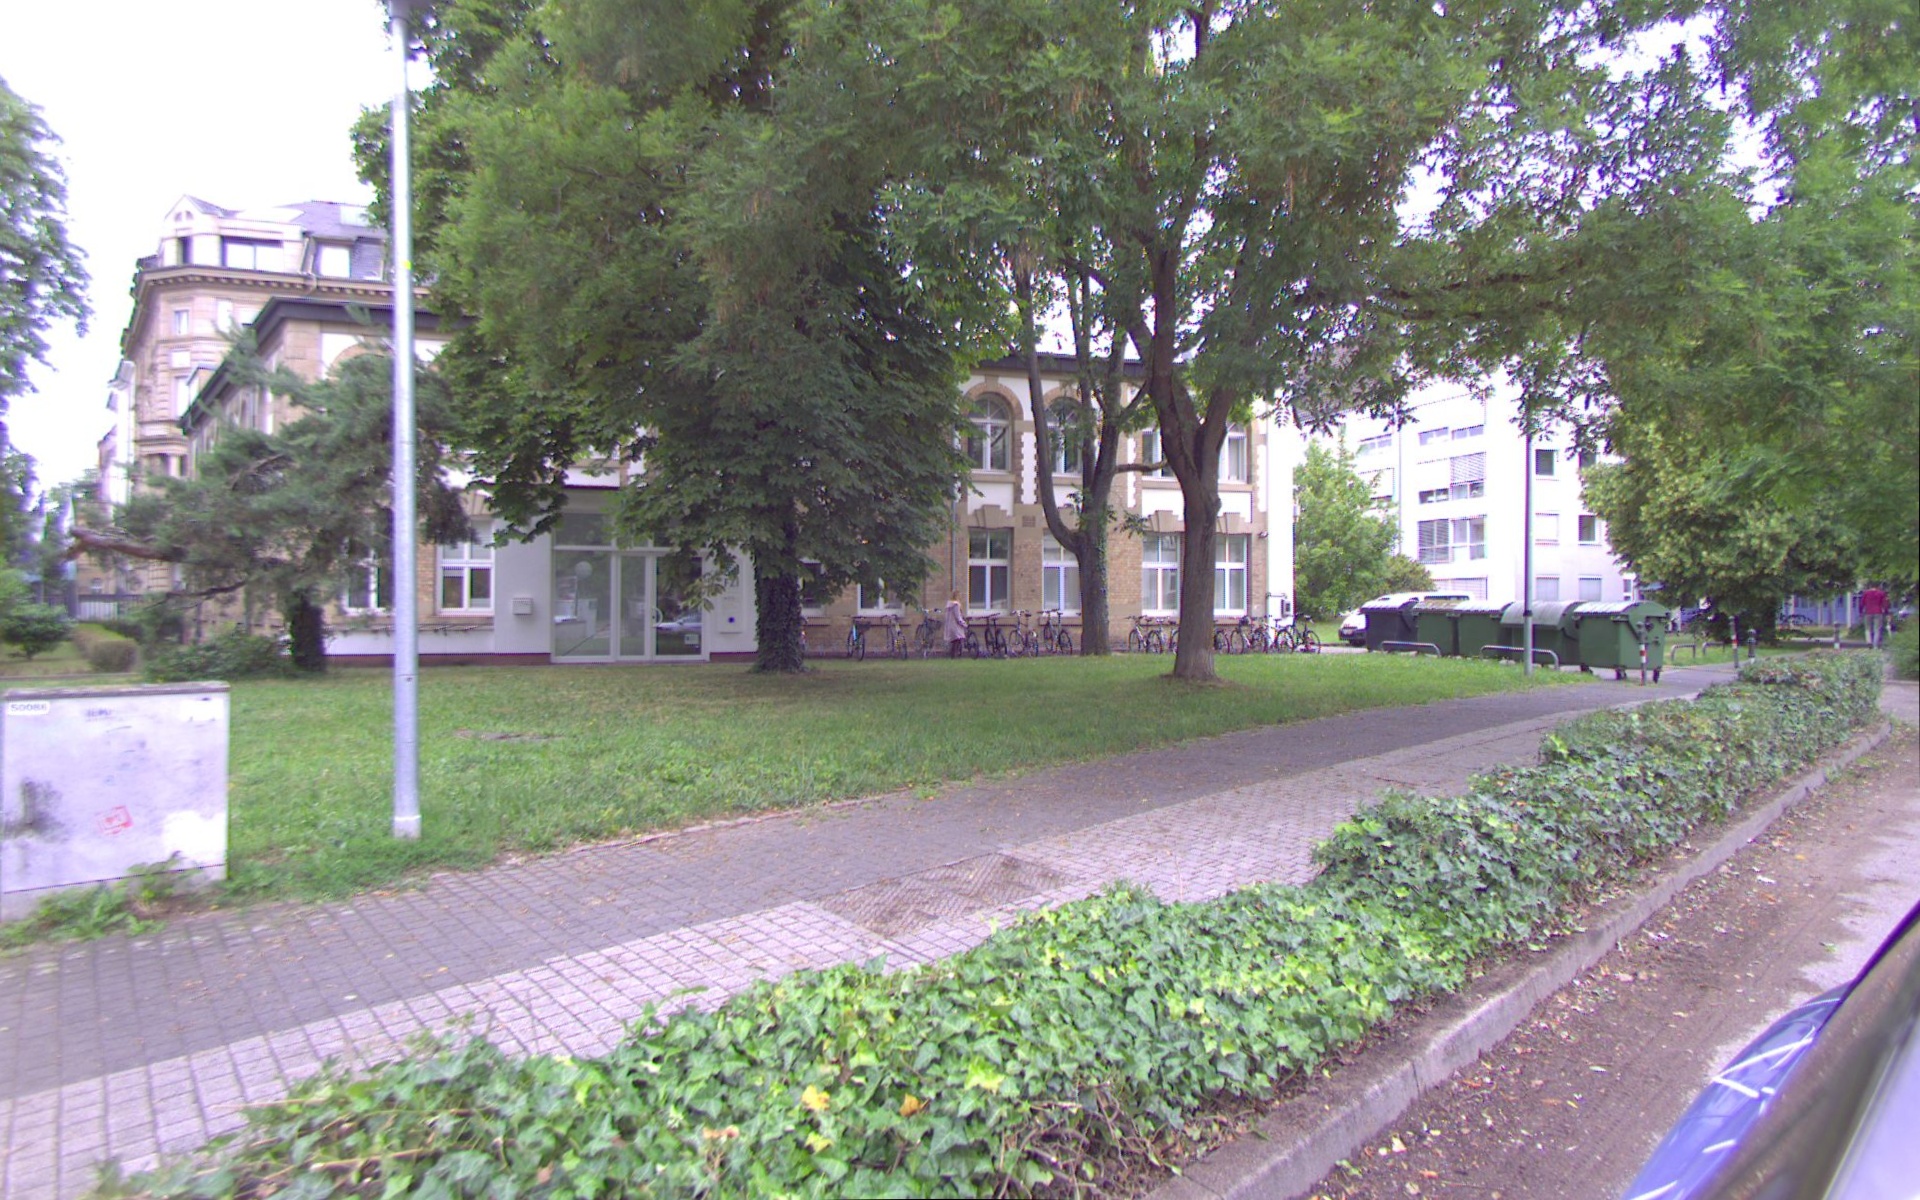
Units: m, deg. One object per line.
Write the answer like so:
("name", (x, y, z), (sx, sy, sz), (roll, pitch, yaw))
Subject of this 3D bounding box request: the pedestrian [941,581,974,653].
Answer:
("pedestrian", (-0.065, 0.377, 22.878), (0.614, 1.607, 0.605), (0, -1, -14))

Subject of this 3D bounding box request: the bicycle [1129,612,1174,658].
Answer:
("bicycle", (4.837, 0.868, 25.695), (0.451, 1.129, 1.748), (0, 0, -13))

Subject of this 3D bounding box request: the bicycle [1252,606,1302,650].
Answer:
("bicycle", (8.397, 0.718, 26.847), (0.451, 1.129, 1.748), (0, 0, -13))

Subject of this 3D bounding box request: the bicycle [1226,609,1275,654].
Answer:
("bicycle", (7.621, 0.810, 26.593), (0.451, 1.129, 1.748), (0, 0, -13))

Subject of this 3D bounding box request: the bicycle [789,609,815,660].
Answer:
("bicycle", (-3.686, 0.769, 23.533), (0.451, 1.129, 1.748), (0, 0, -13))

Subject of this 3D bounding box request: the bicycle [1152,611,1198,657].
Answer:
("bicycle", (5.473, 0.850, 25.879), (0.451, 1.129, 1.748), (0, 0, -13))

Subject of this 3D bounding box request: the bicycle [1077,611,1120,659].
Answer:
("bicycle", (3.428, 0.845, 25.155), (0.451, 1.129, 1.748), (0, 0, -13))

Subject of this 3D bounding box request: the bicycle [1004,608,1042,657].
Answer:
("bicycle", (1.545, 0.780, 24.922), (0.451, 1.129, 1.748), (0, 0, -13))

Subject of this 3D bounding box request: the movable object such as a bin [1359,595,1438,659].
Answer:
("movable object such as a bin", (10.488, 0.631, 24.265), (1.085, 1.469, 1.365), (0, -1, -20))

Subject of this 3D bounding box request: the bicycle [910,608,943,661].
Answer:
("bicycle", (-0.815, 0.795, 24.051), (0.451, 1.128, 1.749), (0, 3, -13))

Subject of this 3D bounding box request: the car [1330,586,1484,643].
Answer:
("car", (15.579, 0.511, 35.340), (4.673, 1.898, 1.904), (0, -3, -13))

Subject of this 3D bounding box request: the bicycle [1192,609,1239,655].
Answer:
("bicycle", (6.576, 0.798, 26.111), (0.451, 1.129, 1.747), (0, 0, -11))

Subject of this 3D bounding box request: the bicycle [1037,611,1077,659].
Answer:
("bicycle", (2.396, 0.858, 25.167), (0.451, 1.129, 1.748), (0, 0, -13))

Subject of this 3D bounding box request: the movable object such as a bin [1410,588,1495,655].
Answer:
("movable object such as a bin", (11.064, 0.467, 22.765), (1.085, 1.469, 1.329), (0, -1, -20))

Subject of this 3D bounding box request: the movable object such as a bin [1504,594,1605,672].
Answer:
("movable object such as a bin", (11.673, 0.627, 19.911), (1.085, 1.469, 1.289), (0, -1, -17))

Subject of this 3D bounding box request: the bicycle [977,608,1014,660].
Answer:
("bicycle", (0.859, 0.815, 24.640), (0.451, 1.128, 1.749), (0, 2, -13))

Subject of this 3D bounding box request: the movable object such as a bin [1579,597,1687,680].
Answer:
("movable object such as a bin", (12.250, 0.672, 18.470), (1.050, 1.452, 1.277), (0, 0, -6))

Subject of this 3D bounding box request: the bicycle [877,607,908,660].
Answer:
("bicycle", (-1.600, 0.772, 23.917), (0.451, 1.128, 1.748), (0, 2, -13))

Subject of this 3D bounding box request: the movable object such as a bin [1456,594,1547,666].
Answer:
("movable object such as a bin", (11.440, 0.612, 21.408), (1.085, 1.469, 1.297), (0, -1, -20))

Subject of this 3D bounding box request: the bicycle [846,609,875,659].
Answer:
("bicycle", (-2.342, 0.776, 23.740), (0.451, 1.129, 1.748), (0, 0, -13))

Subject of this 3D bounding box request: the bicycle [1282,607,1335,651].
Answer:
("bicycle", (9.296, 0.756, 27.055), (0.451, 1.129, 1.748), (0, 0, -14))

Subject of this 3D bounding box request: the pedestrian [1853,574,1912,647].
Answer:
("pedestrian", (26.930, 0.306, 29.534), (1.176, 2.090, 0.796), (0, 0, -19))

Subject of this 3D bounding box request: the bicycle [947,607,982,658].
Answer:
("bicycle", (0.099, 0.769, 24.474), (0.451, 1.128, 1.748), (0, 1, -13))
